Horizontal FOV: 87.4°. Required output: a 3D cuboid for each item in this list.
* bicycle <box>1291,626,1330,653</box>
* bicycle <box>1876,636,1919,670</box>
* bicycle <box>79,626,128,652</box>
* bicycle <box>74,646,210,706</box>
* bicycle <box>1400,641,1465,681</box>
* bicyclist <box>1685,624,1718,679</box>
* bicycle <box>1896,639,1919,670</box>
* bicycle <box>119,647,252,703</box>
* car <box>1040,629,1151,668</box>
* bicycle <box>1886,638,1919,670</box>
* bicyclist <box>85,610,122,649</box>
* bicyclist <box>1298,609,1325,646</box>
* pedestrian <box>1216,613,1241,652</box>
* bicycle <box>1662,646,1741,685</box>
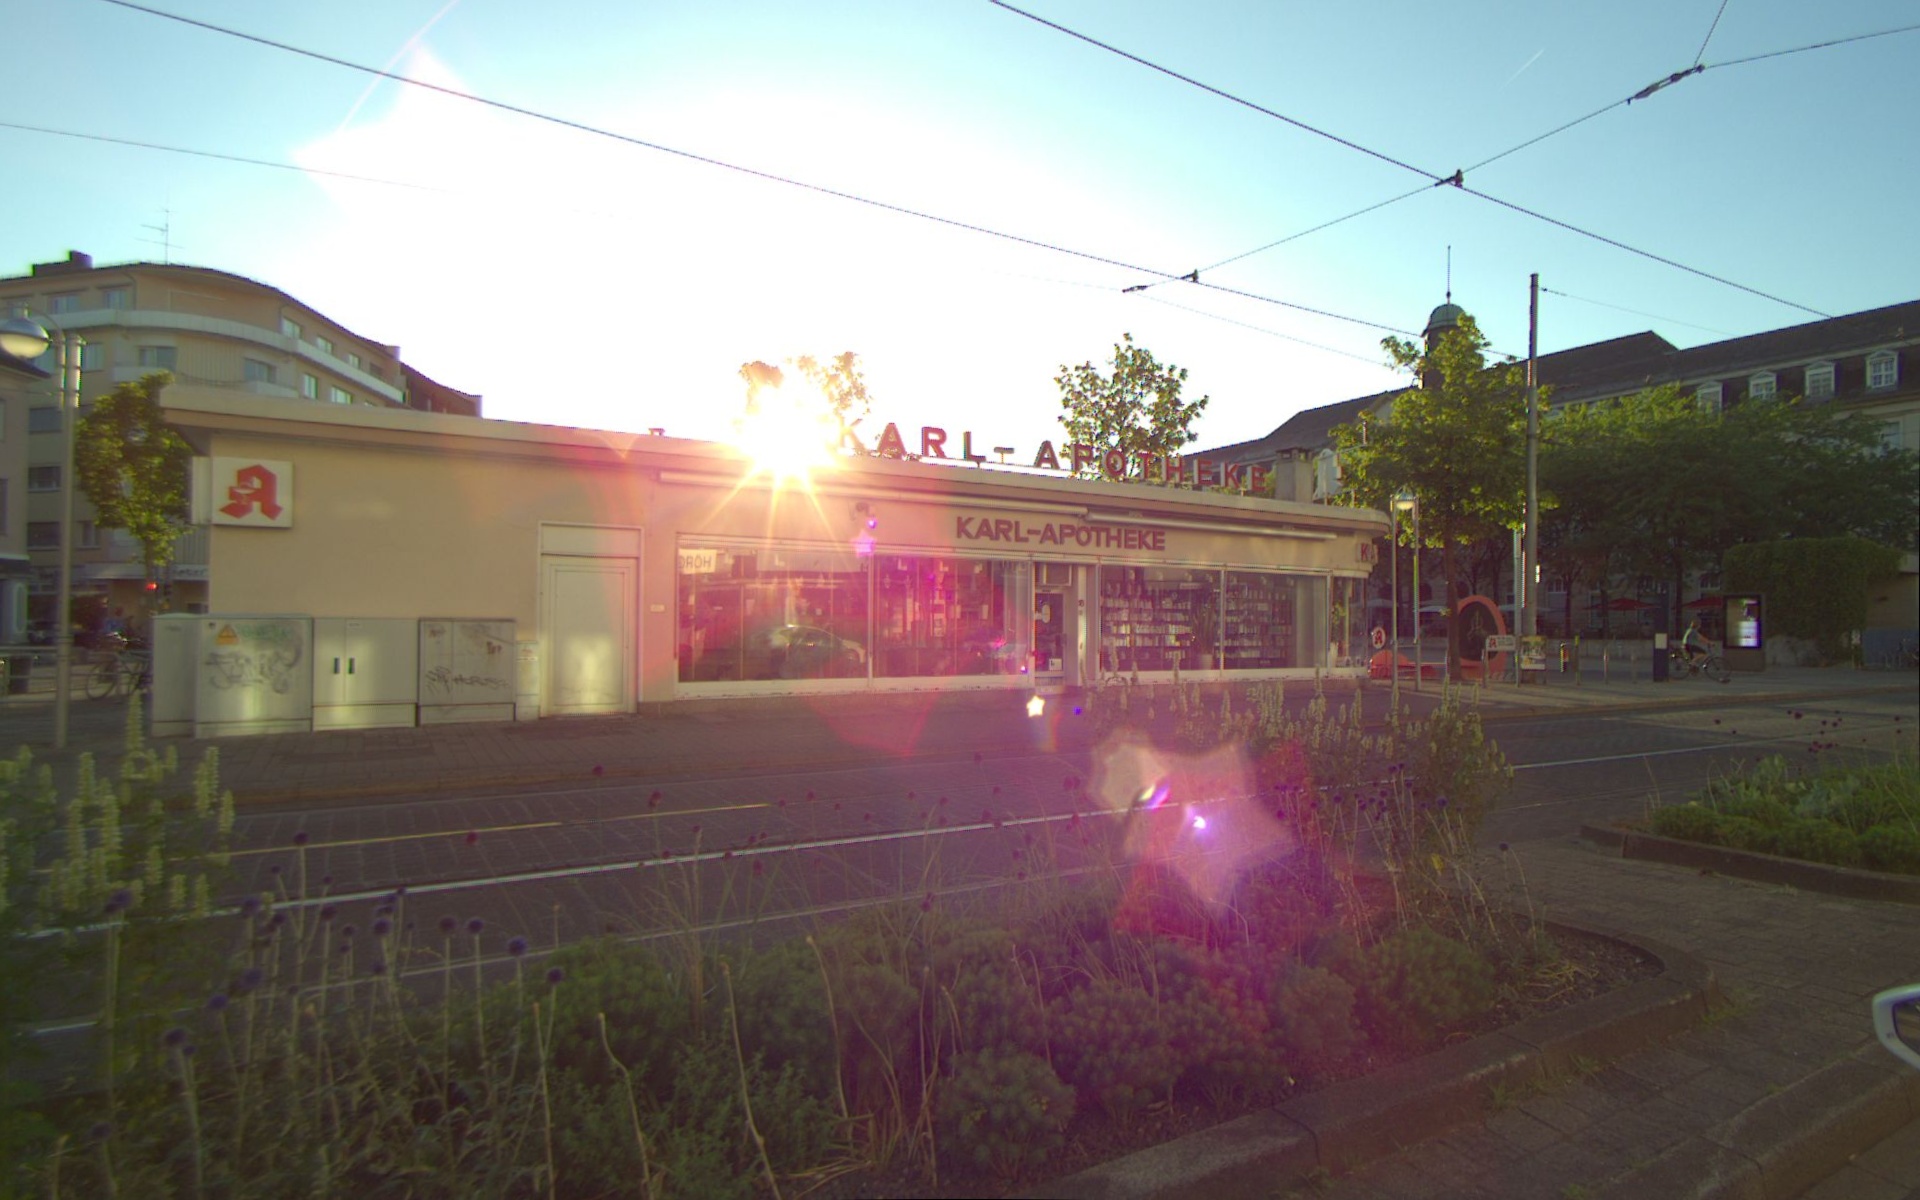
[{"bbox_3d":[19.824,2.244,56.804,0.573,1.495,2.230,2,-2,-31],"label":"bicycle"},{"bbox_3d":[37.444,2.076,39.368,0.573,1.317,2.187,3,-3,-30],"label":"bicycle"},{"bbox_3d":[-41.573,1.889,48.765,2.081,1.219,0.501,1,-2,8],"label":"bicycle"},{"bbox_3d":[-14.722,1.365,18.092,1.986,1.058,0.560,0,-2,1],"label":"bicycle"},{"bbox_3d":[13.781,1.777,29.328,1.679,1.126,0.495,-1,-3,25],"label":"bicycle"},{"bbox_3d":[23.017,1.596,31.188,0.691,1.690,0.628,1,-2,20],"label":"bicyclist"},{"bbox_3d":[39.861,2.238,41.075,0.578,1.248,2.231,2,-2,-30],"label":"bicycle"},{"bbox_3d":[-14.823,1.430,19.242,2.111,1.057,0.560,0,-2,1],"label":"bicycle"},{"bbox_3d":[5.892,2.105,43.458,4.626,1.585,1.790,3,-3,-30],"label":"car"},{"bbox_3d":[38.677,2.170,40.251,0.573,1.271,2.231,3,-3,-30],"label":"bicycle"},{"bbox_3d":[-41.585,1.432,48.763,1.110,1.814,0.765,1,-2,8],"label":"bicyclist"},{"bbox_3d":[19.878,1.555,56.843,1.130,2.045,0.954,3,-3,-31],"label":"bicyclist"},{"bbox_3d":[14.421,1.742,53.938,0.922,2.088,0.931,0,0,-35],"label":"pedestrian"},{"bbox_3d":[22.982,2.023,31.170,1.898,1.126,0.461,0,-2,20],"label":"bicycle"}]
